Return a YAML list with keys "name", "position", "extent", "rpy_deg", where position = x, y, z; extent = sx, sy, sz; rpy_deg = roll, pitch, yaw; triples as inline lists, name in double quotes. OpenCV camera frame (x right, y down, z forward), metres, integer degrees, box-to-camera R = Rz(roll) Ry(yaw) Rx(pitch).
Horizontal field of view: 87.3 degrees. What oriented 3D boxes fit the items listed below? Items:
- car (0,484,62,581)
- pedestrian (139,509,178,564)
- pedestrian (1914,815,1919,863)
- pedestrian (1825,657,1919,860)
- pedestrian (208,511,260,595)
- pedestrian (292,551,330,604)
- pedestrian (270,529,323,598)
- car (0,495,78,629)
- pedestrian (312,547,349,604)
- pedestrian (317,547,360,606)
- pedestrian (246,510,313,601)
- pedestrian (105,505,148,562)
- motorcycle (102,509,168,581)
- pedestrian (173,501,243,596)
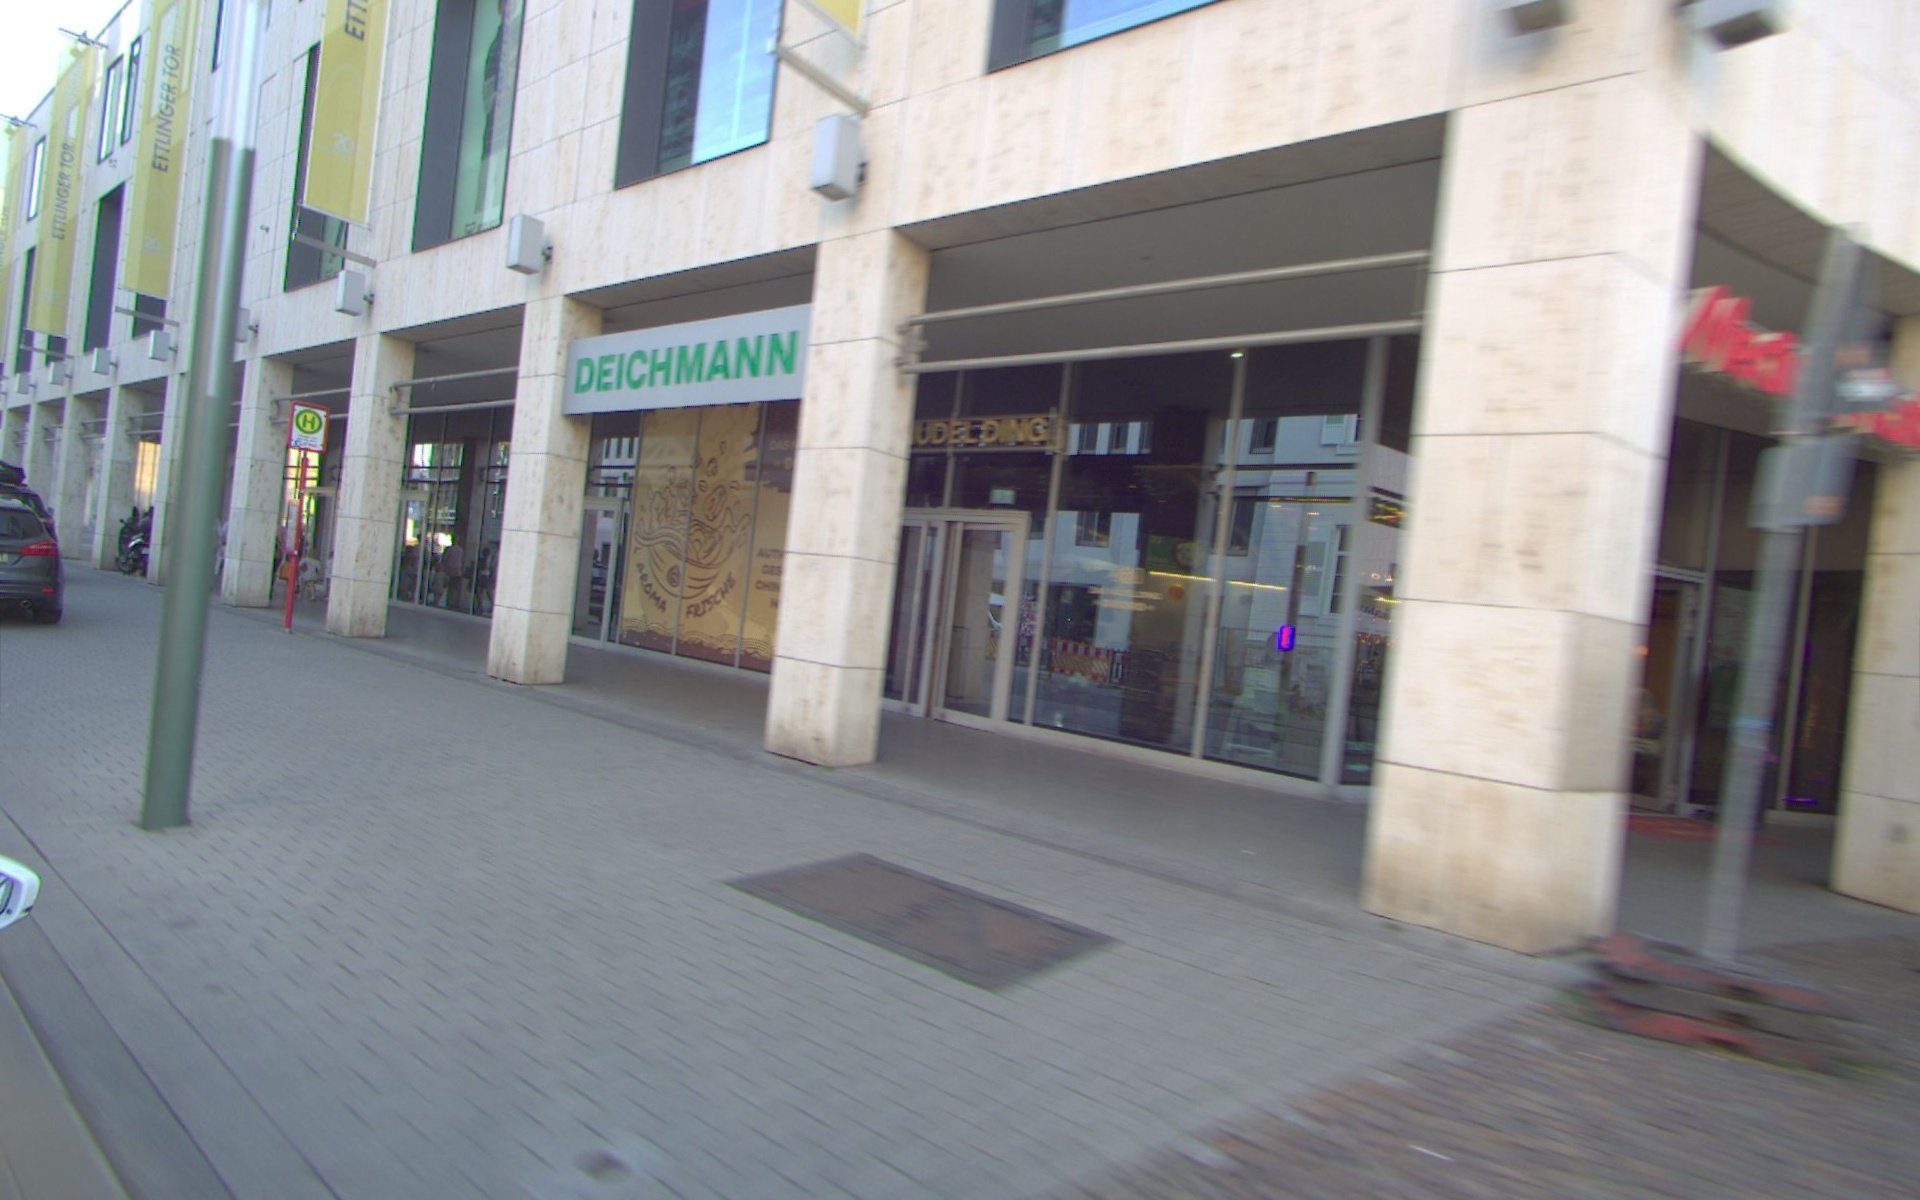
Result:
- name: "car"
  position: [-18.331, -1.348, 18.740]
  extent: [3.998, 1.660, 1.765]
  rpy_deg: [6, 3, 39]
- name: "pedestrian"
  position: [-24.069, -1.907, 30.226]
  extent: [0.763, 1.561, 0.633]
  rpy_deg: [6, 0, 38]
- name: "pedestrian"
  position: [9.449, 1.615, 9.239]
  extent: [0.710, 1.767, 0.664]
  rpy_deg: [6, 0, -29]
- name: "pedestrian"
  position: [9.318, 1.567, 10.050]
  extent: [0.710, 1.885, 0.664]
  rpy_deg: [6, 0, -29]
- name: "pedestrian"
  position: [-15.761, -1.024, 21.840]
  extent: [0.685, 1.720, 0.590]
  rpy_deg: [7, 1, 36]
- name: "pedestrian"
  position: [-13.299, -0.464, 20.619]
  extent: [0.518, 0.998, 0.419]
  rpy_deg: [9, 2, 38]
- name: "pedestrian"
  position: [-14.381, -0.787, 21.796]
  extent: [0.763, 1.363, 0.633]
  rpy_deg: [9, 2, 38]
- name: "car"
  position: [-12.589, -0.596, 12.483]
  extent: [4.131, 1.510, 1.791]
  rpy_deg: [6, 3, 39]
- name: "pedestrian"
  position: [-13.339, -0.522, 21.311]
  extent: [0.518, 1.111, 0.419]
  rpy_deg: [9, 2, 38]
- name: "pedestrian"
  position: [-12.884, -0.490, 20.861]
  extent: [0.592, 1.111, 0.486]
  rpy_deg: [9, 2, 38]
- name: "pedestrian"
  position: [-13.931, -0.904, 20.605]
  extent: [0.863, 1.703, 0.764]
  rpy_deg: [9, 2, 38]
- name: "pedestrian"
  position: [-24.510, -1.954, 29.590]
  extent: [0.718, 1.561, 0.724]
  rpy_deg: [6, 0, 38]
- name: "motorcycle"
  position: [-18.431, -1.249, 22.450]
  extent: [2.105, 1.434, 0.692]
  rpy_deg: [6, 0, 41]
- name: "pedestrian"
  position: [-14.741, -1.007, 19.711]
  extent: [0.863, 1.703, 0.764]
  rpy_deg: [9, 2, 38]
